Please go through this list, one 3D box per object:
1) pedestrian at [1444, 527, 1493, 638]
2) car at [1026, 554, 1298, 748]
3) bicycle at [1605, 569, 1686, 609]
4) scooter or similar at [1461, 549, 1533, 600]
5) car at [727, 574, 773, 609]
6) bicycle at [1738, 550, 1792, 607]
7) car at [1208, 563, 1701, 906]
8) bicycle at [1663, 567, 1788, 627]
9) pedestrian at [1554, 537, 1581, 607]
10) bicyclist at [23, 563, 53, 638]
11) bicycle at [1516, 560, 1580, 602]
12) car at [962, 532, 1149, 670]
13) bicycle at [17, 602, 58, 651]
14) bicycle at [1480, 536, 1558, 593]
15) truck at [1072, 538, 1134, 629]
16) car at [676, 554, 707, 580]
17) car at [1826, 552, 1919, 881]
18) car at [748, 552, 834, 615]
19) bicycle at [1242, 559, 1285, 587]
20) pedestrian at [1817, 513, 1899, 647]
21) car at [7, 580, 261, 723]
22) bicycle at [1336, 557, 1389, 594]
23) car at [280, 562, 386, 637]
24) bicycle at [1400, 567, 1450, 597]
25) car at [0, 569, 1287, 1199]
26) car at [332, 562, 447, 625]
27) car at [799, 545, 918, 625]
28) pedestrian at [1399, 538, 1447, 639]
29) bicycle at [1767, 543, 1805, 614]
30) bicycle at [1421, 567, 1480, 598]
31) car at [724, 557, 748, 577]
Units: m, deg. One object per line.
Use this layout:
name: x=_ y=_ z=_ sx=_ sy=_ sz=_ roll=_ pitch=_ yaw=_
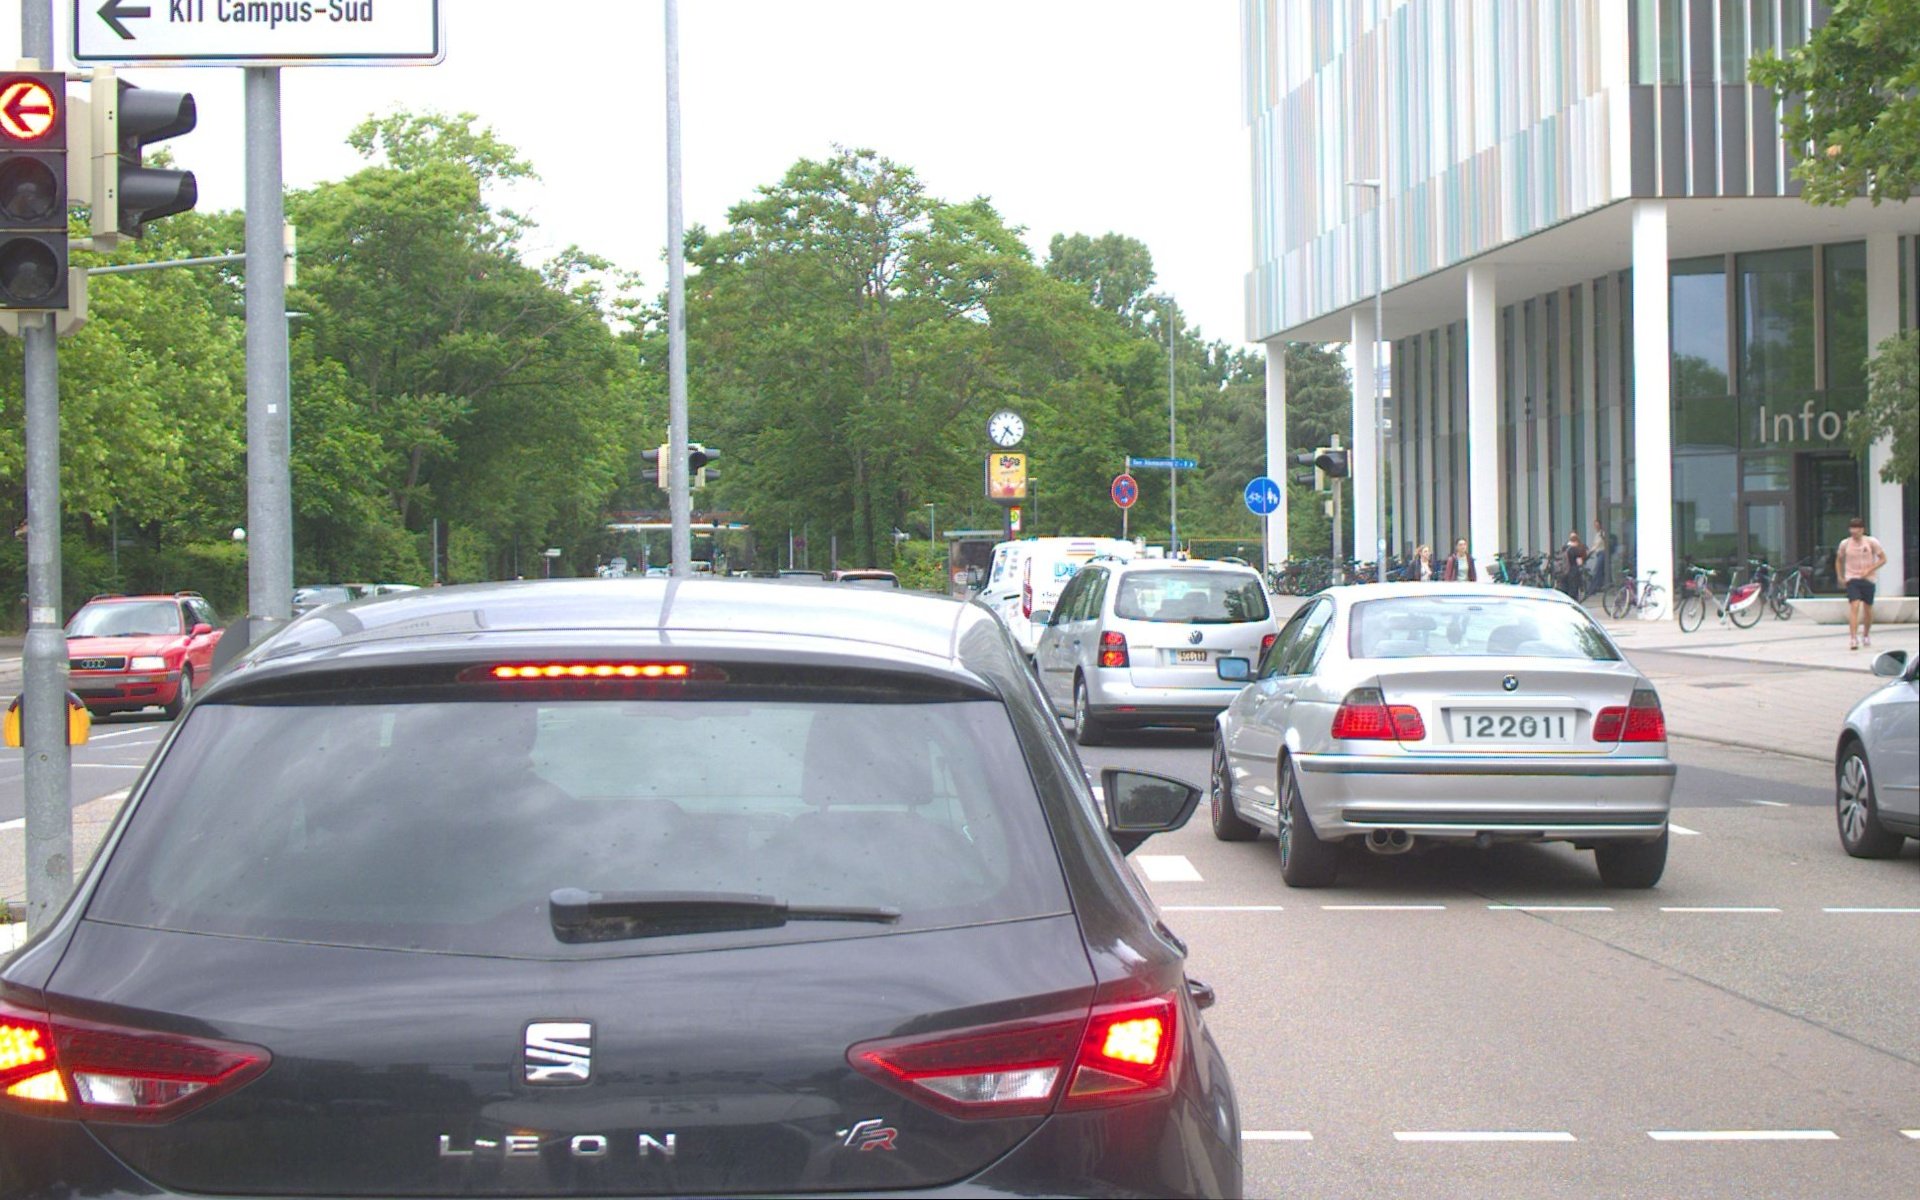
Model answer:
pedestrian: x=8.253 y=-0.287 z=55.819 sx=0.687 sy=1.775 sz=0.677 roll=-1 pitch=1 yaw=-1
car: x=1.713 y=0.393 z=30.479 sx=1.729 sy=1.597 sz=4.106 roll=0 pitch=1 yaw=-6
bicycle: x=13.893 y=-0.218 z=69.681 sx=1.479 sy=0.746 sz=0.566 roll=-2 pitch=1 yaw=-4
scooter or similar: x=12.231 y=-0.583 z=78.311 sx=1.671 sy=1.103 sz=0.499 roll=-3 pitch=1 yaw=-32
car: x=-9.005 y=-0.386 z=147.148 sx=1.898 sy=1.349 sz=3.883 roll=-2 pitch=1 yaw=-4
bicycle: x=15.734 y=-0.421 z=67.186 sx=0.620 sy=1.042 sz=1.703 roll=-2 pitch=1 yaw=26
car: x=2.277 y=0.557 z=16.886 sx=1.722 sy=1.409 sz=4.246 roll=0 pitch=1 yaw=-1
bicycle: x=12.515 y=-0.058 z=56.199 sx=1.886 sy=0.895 sz=0.697 roll=-3 pitch=1 yaw=-21
pedestrian: x=12.143 y=-0.561 z=68.692 sx=0.472 sy=1.357 sz=0.445 roll=-2 pitch=1 yaw=10
bicyclist: x=-20.346 y=0.007 z=75.863 sx=0.491 sy=1.619 sz=0.588 roll=1 pitch=2 yaw=-1
bicycle: x=13.006 y=-0.418 z=76.028 sx=1.438 sy=0.855 sz=0.365 roll=-3 pitch=1 yaw=-27
car: x=1.386 y=-0.020 z=51.808 sx=1.966 sy=1.965 sz=4.345 roll=1 pitch=1 yaw=-10
bicycle: x=-20.355 y=0.573 z=75.888 sx=0.488 sy=1.002 sz=1.590 roll=1 pitch=2 yaw=-1
bicycle: x=12.641 y=-0.803 z=77.729 sx=1.772 sy=1.207 sz=0.570 roll=-3 pitch=1 yaw=-34
truck: x=3.671 y=-0.449 z=88.348 sx=1.317 sy=2.235 sz=3.402 roll=-2 pitch=1 yaw=-1
car: x=-16.808 y=-2.088 z=214.749 sx=1.695 sy=1.498 sz=4.011 roll=-2 pitch=1 yaw=-7
car: x=5.423 y=0.557 z=15.827 sx=1.825 sy=1.545 sz=4.527 roll=1 pitch=0 yaw=2
car: x=-4.812 y=-0.481 z=97.305 sx=1.914 sy=1.658 sz=4.116 roll=-3 pitch=1 yaw=-9
bicycle: x=9.630 y=-0.853 z=108.962 sx=1.258 sy=0.845 sz=0.482 roll=2 pitch=0 yaw=-22
pedestrian: x=12.115 y=-0.279 z=46.387 sx=0.847 sy=1.759 sz=0.768 roll=-2 pitch=1 yaw=-1
car: x=-9.290 y=0.540 z=38.978 sx=1.714 sy=1.413 sz=4.294 roll=-2 pitch=1 yaw=1
bicycle: x=10.753 y=-0.651 z=91.800 sx=1.387 sy=0.938 sz=0.487 roll=-1 pitch=1 yaw=7
car: x=-15.703 y=-0.026 z=86.264 sx=1.906 sy=1.711 sz=4.000 roll=-2 pitch=1 yaw=-1
bicycle: x=11.755 y=-0.456 z=86.887 sx=1.240 sy=0.703 sz=0.489 roll=-2 pitch=1 yaw=8
car: x=-0.459 y=0.687 z=5.748 sx=1.753 sy=1.427 sz=3.769 roll=1 pitch=1 yaw=2
car: x=-15.901 y=-0.186 z=96.065 sx=1.759 sy=1.582 sz=3.998 roll=-2 pitch=1 yaw=12
car: x=-2.214 y=-0.338 z=73.790 sx=1.948 sy=1.618 sz=3.750 roll=0 pitch=2 yaw=-11
pedestrian: x=7.518 y=-0.189 z=55.839 sx=0.687 sy=1.634 sz=0.633 roll=0 pitch=1 yaw=-1
bicycle: x=15.467 y=-0.409 z=64.393 sx=0.526 sy=1.248 sz=1.664 roll=-2 pitch=1 yaw=18
bicycle: x=12.010 y=-0.420 z=84.197 sx=1.374 sy=0.703 sz=0.416 roll=-2 pitch=1 yaw=2
car: x=-14.365 y=-2.136 z=220.181 sx=1.505 sy=1.189 sz=3.163 roll=-2 pitch=1 yaw=-4
